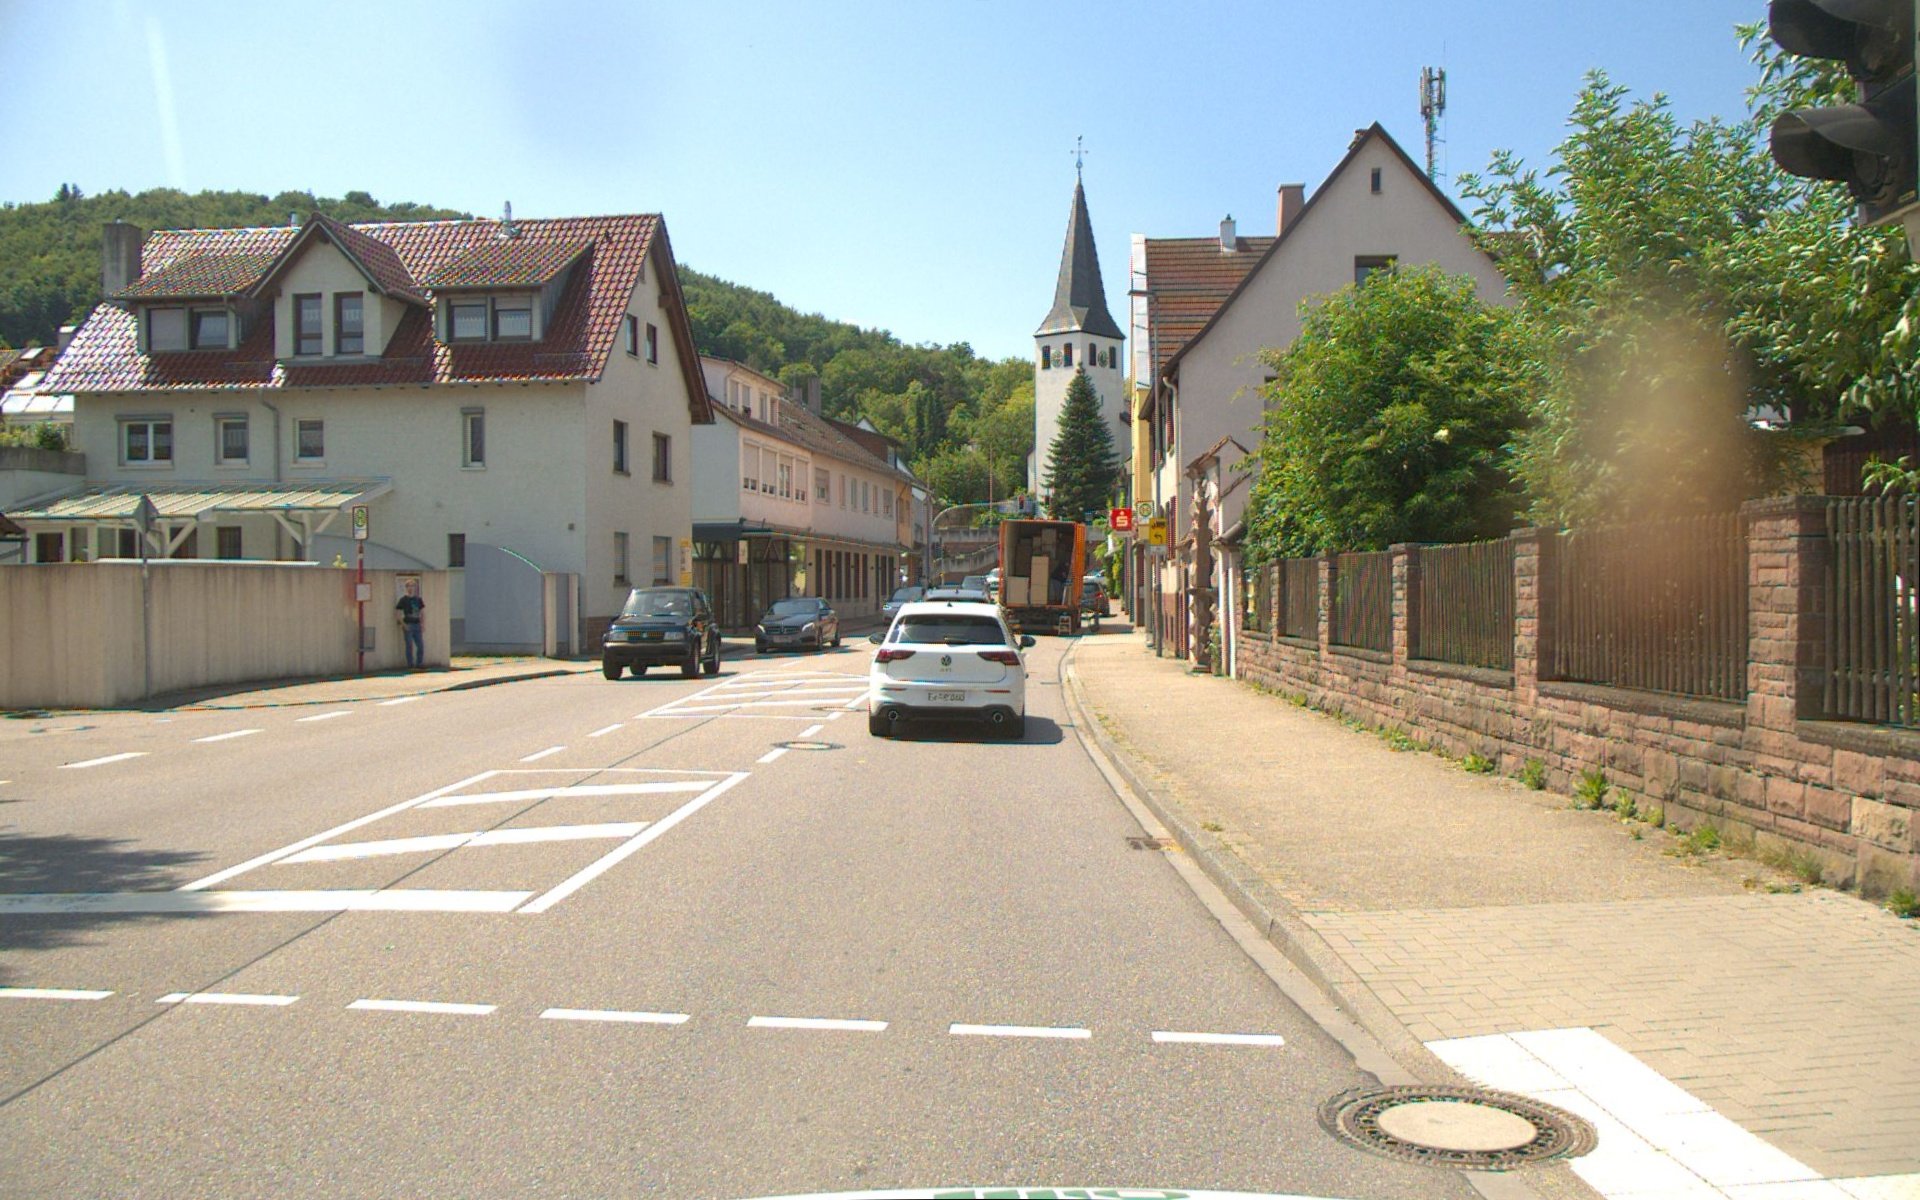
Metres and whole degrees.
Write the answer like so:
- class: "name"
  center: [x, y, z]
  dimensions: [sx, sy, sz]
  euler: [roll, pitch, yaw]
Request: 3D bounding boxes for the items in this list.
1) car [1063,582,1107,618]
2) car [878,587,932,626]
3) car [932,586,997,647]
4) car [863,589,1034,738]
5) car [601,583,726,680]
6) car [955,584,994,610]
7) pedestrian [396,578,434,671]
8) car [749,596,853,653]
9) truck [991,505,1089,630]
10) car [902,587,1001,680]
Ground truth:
- class: "car"
  center: [5.803, 0.011, 77.095]
  dimensions: [1.778, 1.545, 4.000]
  euler: [-2, 0, 1]
- class: "car"
  center: [-2.272, 0.259, 69.619]
  dimensions: [1.757, 1.534, 4.136]
  euler: [-2, 0, 5]
- class: "car"
  center: [0.166, 0.469, 48.382]
  dimensions: [1.778, 1.657, 4.000]
  euler: [-2, 0, 1]
- class: "car"
  center: [-0.092, 0.678, 19.343]
  dimensions: [1.778, 1.545, 4.000]
  euler: [1, 0, 1]
- class: "car"
  center: [-5.451, 0.539, 30.810]
  dimensions: [1.703, 1.680, 3.668]
  euler: [0, 0, -1]
- class: "car"
  center: [0.886, -0.162, 99.504]
  dimensions: [1.823, 1.467, 4.220]
  euler: [-2, 0, 7]
- class: "pedestrian"
  center: [-10.641, 0.477, 32.289]
  dimensions: [0.425, 1.795, 0.557]
  euler: [-1, 0, 20]
- class: "car"
  center: [-4.366, 0.646, 46.022]
  dimensions: [1.823, 1.467, 4.221]
  euler: [-2, 0, 9]
- class: "truck"
  center: [3.040, -1.095, 62.042]
  dimensions: [3.296, 4.243, 9.522]
  euler: [-2, 0, 3]
- class: "car"
  center: [-0.133, 0.621, 32.416]
  dimensions: [1.778, 1.657, 4.000]
  euler: [-2, 0, 1]
